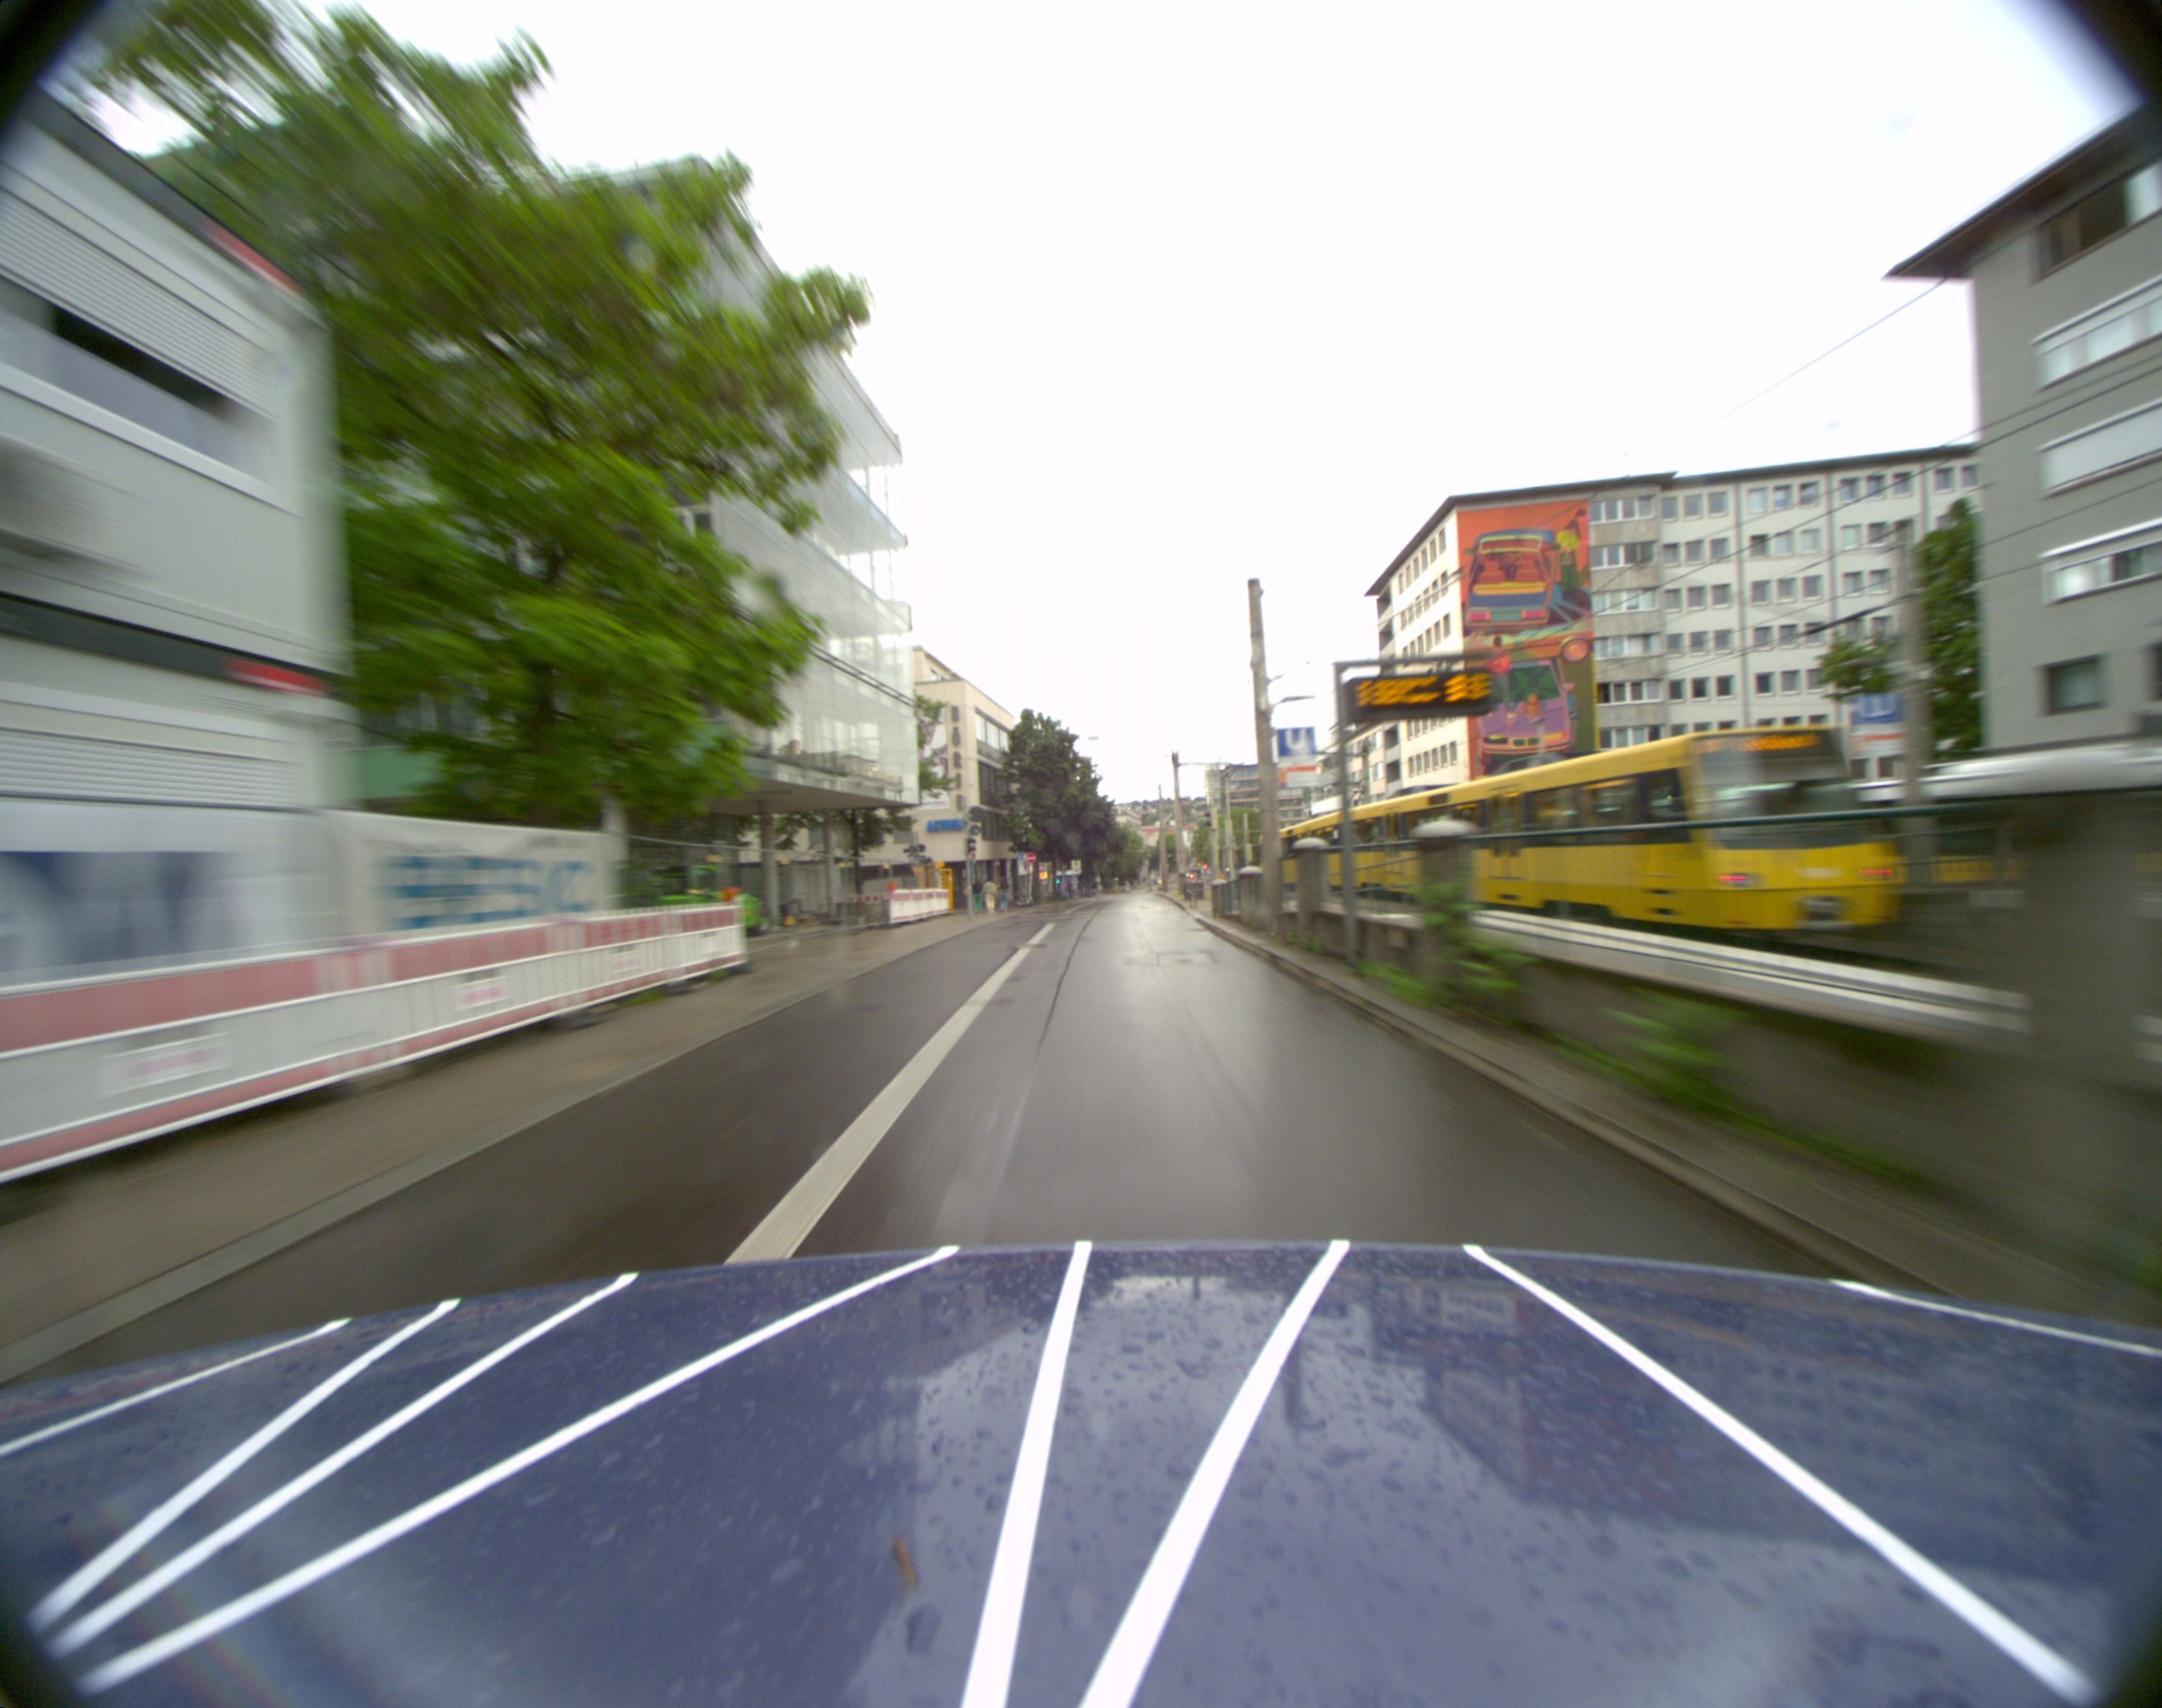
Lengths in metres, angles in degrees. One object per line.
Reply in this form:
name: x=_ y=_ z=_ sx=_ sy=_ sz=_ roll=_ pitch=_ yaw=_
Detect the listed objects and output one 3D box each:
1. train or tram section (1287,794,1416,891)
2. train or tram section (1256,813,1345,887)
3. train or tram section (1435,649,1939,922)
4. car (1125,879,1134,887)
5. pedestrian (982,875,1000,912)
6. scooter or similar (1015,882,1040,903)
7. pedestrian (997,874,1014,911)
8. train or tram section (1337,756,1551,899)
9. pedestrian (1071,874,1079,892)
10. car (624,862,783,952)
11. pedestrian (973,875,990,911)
train or tram section: x=11.946 y=-0.334 z=34.715 sx=2.785 sy=3.669 sz=9.515 roll=-4 pitch=-2 yaw=3
train or tram section: x=12.416 y=-0.084 z=43.956 sx=2.785 sy=3.669 sz=8.979 roll=-4 pitch=-2 yaw=3
train or tram section: x=10.802 y=-0.842 z=15.598 sx=2.785 sy=3.669 sz=9.719 roll=-4 pitch=-2 yaw=3
car: x=9.446 y=5.603 z=148.110 sx=1.620 sy=1.454 sz=3.591 roll=-4 pitch=-3 yaw=5
pedestrian: x=-4.327 y=1.899 z=36.594 sx=0.720 sy=1.751 sz=0.958 roll=-3 pitch=-1 yaw=-4
scooter or similar: x=-3.333 y=2.391 z=47.015 sx=1.385 sy=1.172 sz=0.511 roll=-3 pitch=-1 yaw=-26
pedestrian: x=-3.734 y=1.901 z=37.682 sx=0.720 sy=1.751 sz=0.958 roll=-3 pitch=-1 yaw=-4
train or tram section: x=11.350 y=-0.585 z=25.206 sx=2.785 sy=3.669 sz=9.515 roll=-4 pitch=-2 yaw=3
pedestrian: x=-0.528 y=2.660 z=68.821 sx=0.560 sy=1.614 sz=0.485 roll=-4 pitch=-3 yaw=6
car: x=-9.482 y=1.275 z=19.535 sx=2.015 sy=1.970 sz=4.201 roll=-3 pitch=-1 yaw=-2
pedestrian: x=-4.873 y=1.907 z=37.233 sx=0.599 sy=1.751 sz=0.845 roll=-3 pitch=-1 yaw=2
